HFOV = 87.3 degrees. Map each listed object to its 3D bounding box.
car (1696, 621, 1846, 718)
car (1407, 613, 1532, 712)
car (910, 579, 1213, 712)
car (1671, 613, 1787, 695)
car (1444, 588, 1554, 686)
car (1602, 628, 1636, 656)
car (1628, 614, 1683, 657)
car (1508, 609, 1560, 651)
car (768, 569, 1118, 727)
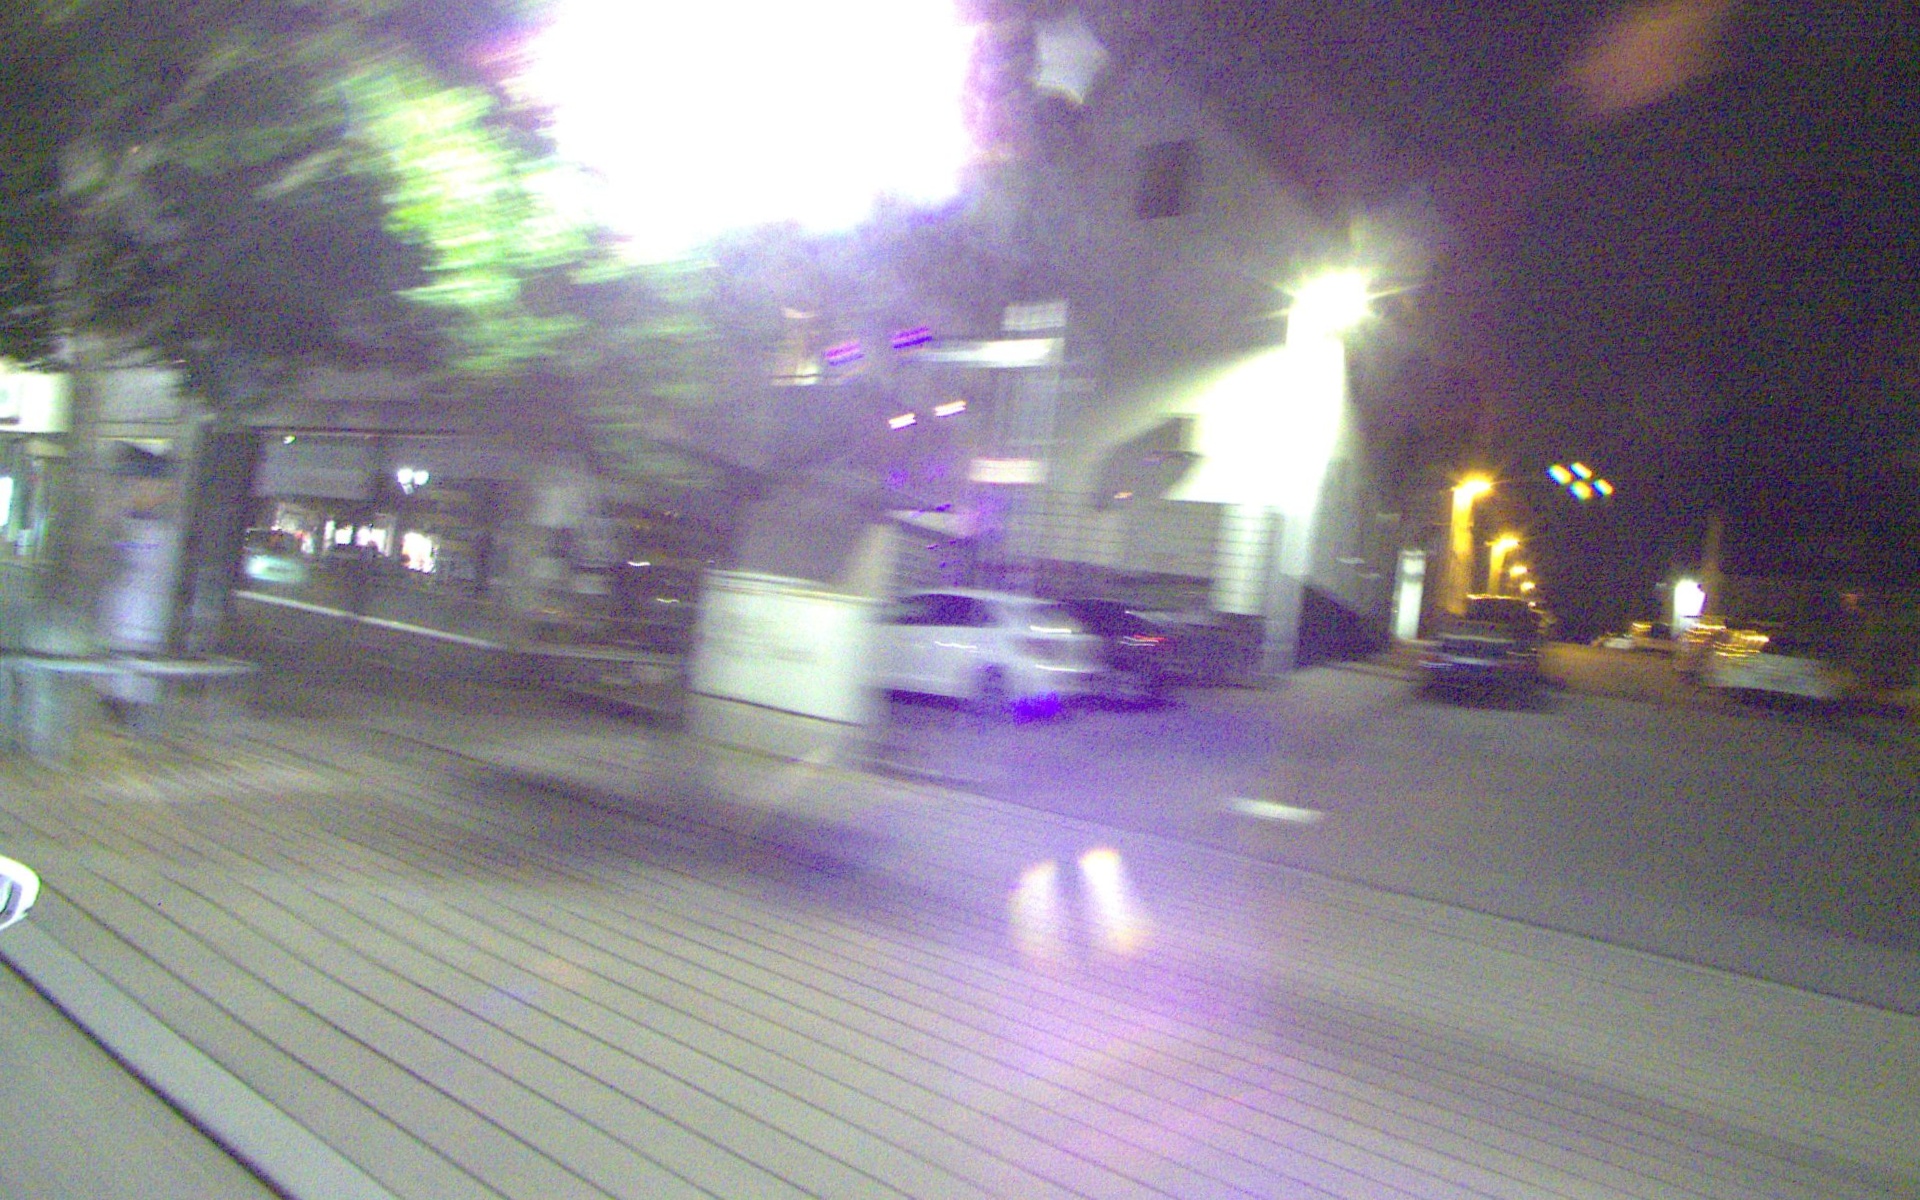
[{"bbox_3d":[17.080,1.382,21.393,1.698,1.572,4.043,7,4,29],"label":"car"},{"bbox_3d":[9.209,1.010,18.025,1.698,1.359,4.043,5,3,30],"label":"car"},{"bbox_3d":[1.462,0.590,14.873,3.989,1.479,1.805,5,2,31],"label":"car"},{"bbox_3d":[19.378,1.276,25.524,1.698,1.672,4.042,7,4,30],"label":"car"},{"bbox_3d":[12.524,0.735,23.309,1.901,1.893,4.844,5,3,30],"label":"car"},{"bbox_3d":[47.704,3.009,72.848,1.698,1.672,4.042,7,4,30],"label":"car"},{"bbox_3d":[32.793,1.640,47.518,1.698,1.672,4.042,7,4,30],"label":"car"},{"bbox_3d":[24.243,1.225,42.519,1.698,1.492,4.043,5,3,30],"label":"car"},{"bbox_3d":[-0.256,0.510,12.678,3.989,1.479,1.805,5,2,31],"label":"car"}]
